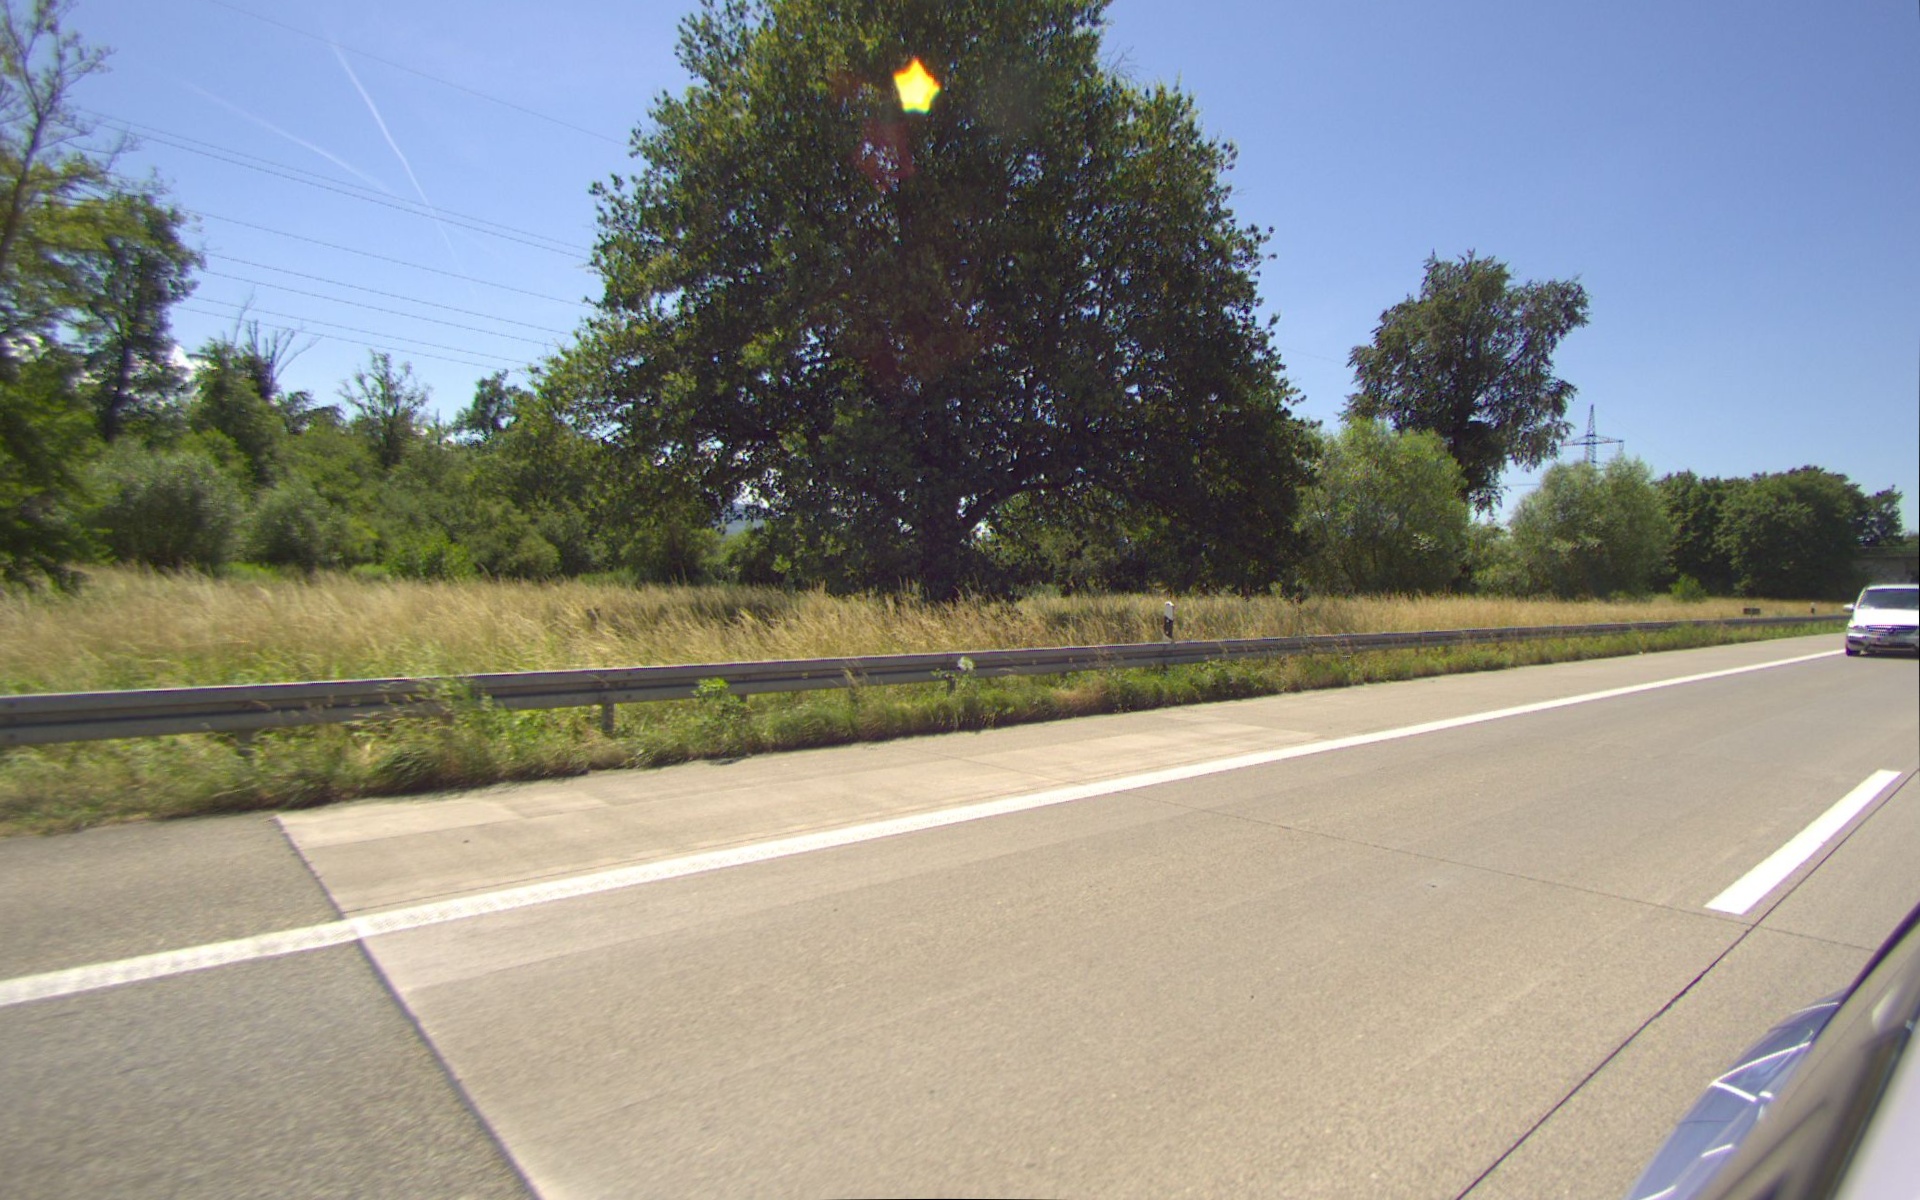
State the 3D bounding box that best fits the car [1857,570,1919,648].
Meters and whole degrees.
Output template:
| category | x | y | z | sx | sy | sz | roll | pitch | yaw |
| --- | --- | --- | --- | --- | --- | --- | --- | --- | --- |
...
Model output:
| category | x | y | z | sx | sy | sz | roll | pitch | yaw |
| --- | --- | --- | --- | --- | --- | --- | --- | --- | --- |
| car | 25.453 | 0.227 | 26.794 | 5.187 | 1.913 | 1.883 | 1 | 1 | -41 |
